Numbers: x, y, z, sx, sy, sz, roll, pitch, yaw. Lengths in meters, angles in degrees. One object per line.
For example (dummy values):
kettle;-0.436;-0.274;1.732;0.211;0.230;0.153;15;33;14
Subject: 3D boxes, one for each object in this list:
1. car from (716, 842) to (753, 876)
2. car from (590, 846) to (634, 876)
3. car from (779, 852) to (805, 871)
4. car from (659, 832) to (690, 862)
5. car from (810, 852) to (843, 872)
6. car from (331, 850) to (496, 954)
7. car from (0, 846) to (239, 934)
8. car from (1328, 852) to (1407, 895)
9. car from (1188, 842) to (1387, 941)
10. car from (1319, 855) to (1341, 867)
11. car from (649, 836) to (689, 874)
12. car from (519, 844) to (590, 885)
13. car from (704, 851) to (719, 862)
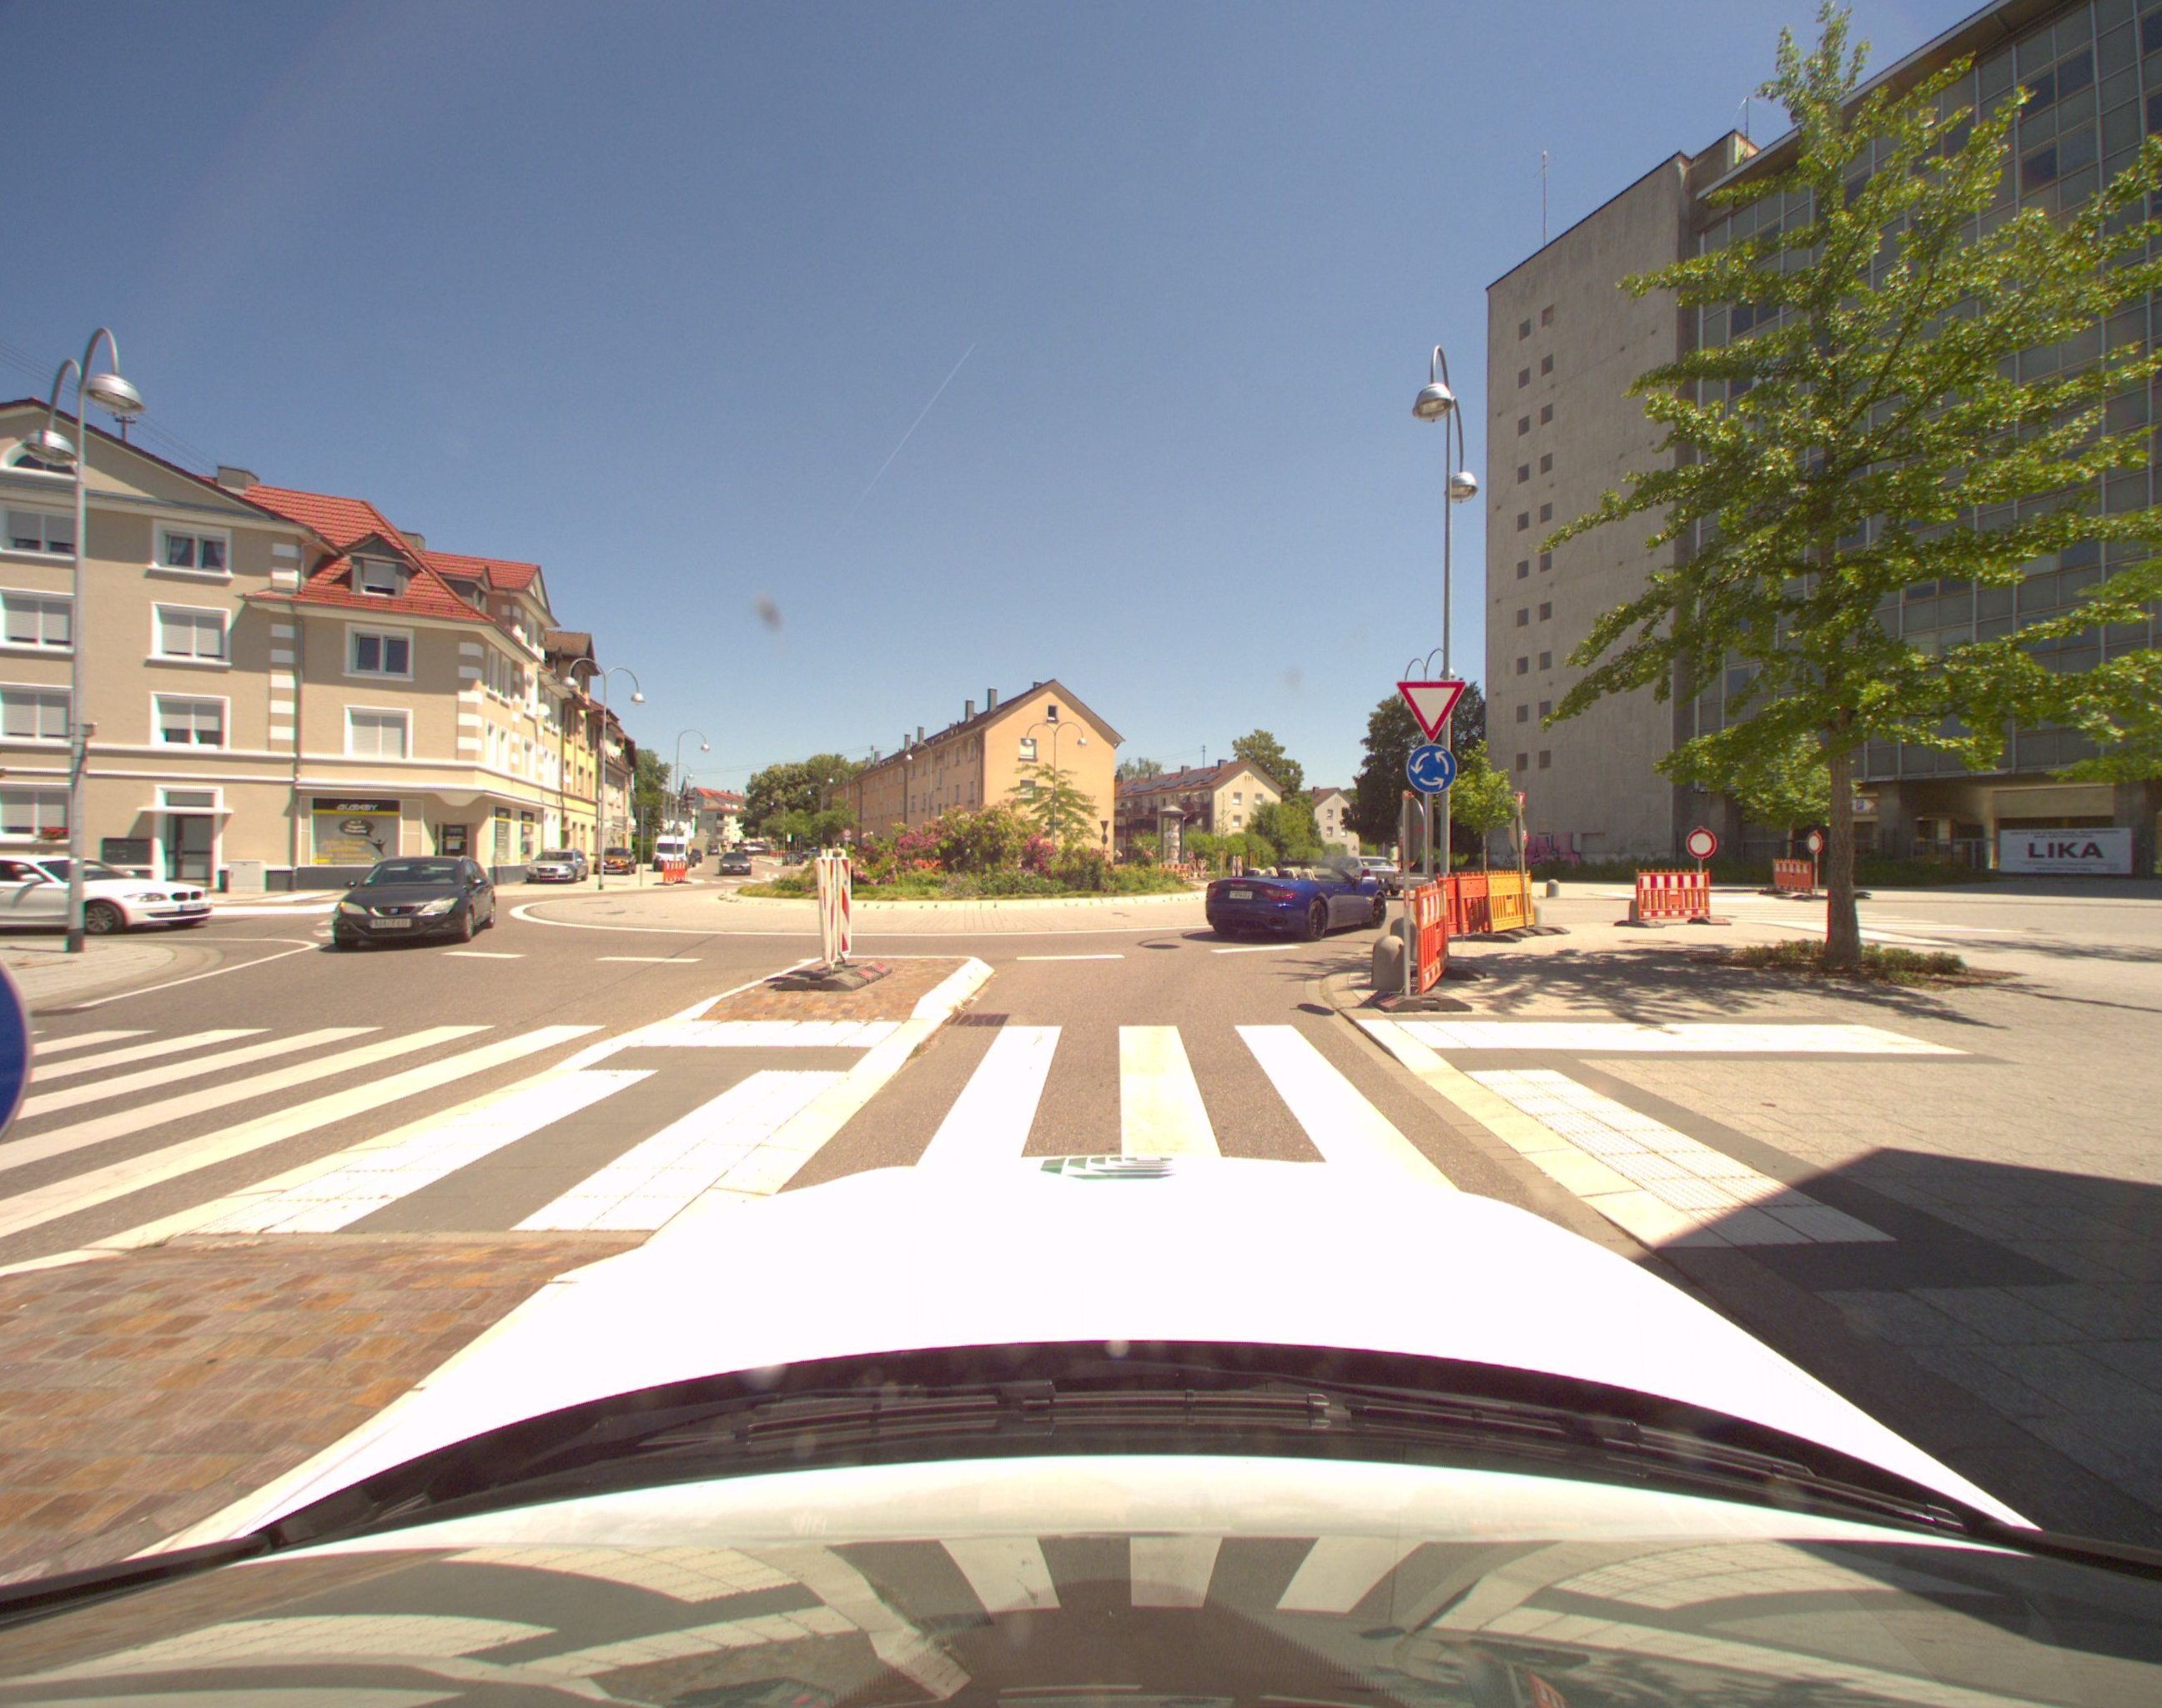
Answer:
car;-21.881;0.298;51.590;2.001;2.014;3.971;2;-1;-22
car;-27.214;0.406;47.331;1.605;1.617;4.061;3;-1;-22
car;-28.771;0.785;81.130;1.823;1.794;3.964;3;-1;-28
car;-36.118;-0.592;72.422;2.155;2.533;4.815;3;-1;-25
car;-20.898;0.640;66.864;1.823;1.500;3.964;3;-1;-28
car;-11.499;0.708;14.294;1.671;1.452;3.983;-2;2;-31
car;-18.959;0.637;15.236;4.117;1.551;1.780;1;-1;-12
car;10.373;0.682;29.782;1.731;1.436;3.713;-1;0;3
car;3.942;0.691;14.926;1.852;1.530;4.534;-1;-3;38
car;30.812;0.843;100.737;1.722;1.436;3.734;-1;0;31
car;-29.081;0.077;57.617;2.154;2.533;6.187;3;-1;-25
car;-23.194;0.444;36.054;1.783;1.686;4.659;1;0;-22
car;-60.242;0.383;132.781;1.823;1.794;3.964;3;-1;-28
